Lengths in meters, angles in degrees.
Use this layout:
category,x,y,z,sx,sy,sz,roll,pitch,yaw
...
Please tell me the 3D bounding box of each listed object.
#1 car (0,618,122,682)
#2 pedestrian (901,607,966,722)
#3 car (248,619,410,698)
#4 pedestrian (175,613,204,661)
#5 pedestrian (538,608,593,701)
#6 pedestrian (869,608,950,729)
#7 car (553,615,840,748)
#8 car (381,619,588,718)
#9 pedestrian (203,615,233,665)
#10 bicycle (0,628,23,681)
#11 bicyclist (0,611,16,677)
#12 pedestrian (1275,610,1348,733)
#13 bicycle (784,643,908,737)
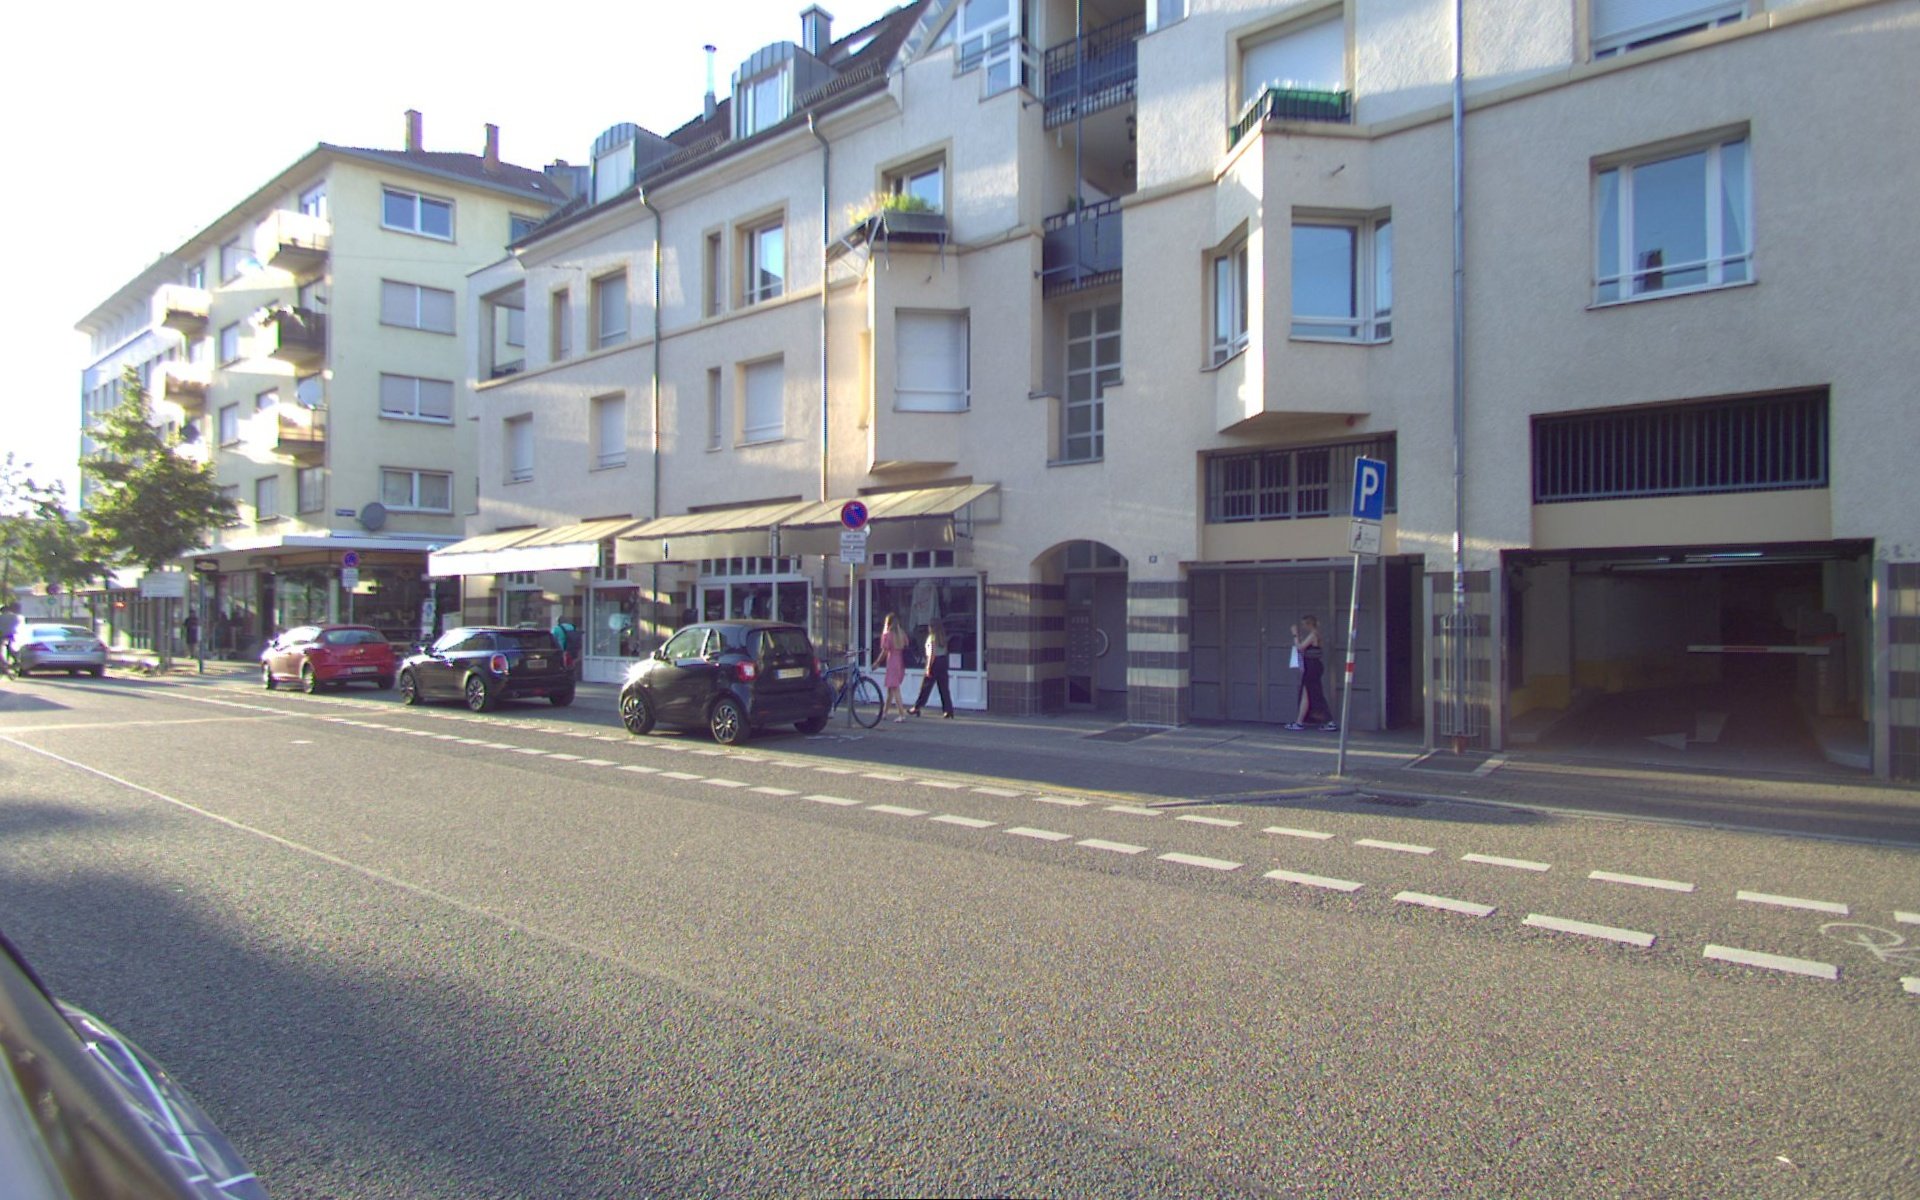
category,x,y,z,sx,sy,sz,roll,pitch,yaw
car,-24.839,1.341,27.698,4.398,1.617,1.975,-1,-3,38
pedestrian,-0.409,0.969,15.586,0.830,1.713,0.554,-1,-2,38
car,-13.995,1.228,22.381,3.780,1.592,1.773,-1,-2,37
pedestrian,-28.900,1.375,37.954,0.666,1.805,0.711,-1,-1,39
pedestrian,-7.602,1.039,19.521,0.737,1.747,0.711,-1,-1,38
pedestrian,-0.743,0.985,14.901,1.039,1.713,0.624,-1,-2,38
car,-3.727,1.018,14.089,3.959,1.592,1.773,-1,-2,36
car,-8.554,1.141,18.126,3.780,1.592,1.773,-1,-2,37
pedestrian,-27.074,1.457,36.925,0.666,1.805,0.711,-1,-1,39
bicycle,-23.640,1.311,24.861,2.129,1.252,0.656,-1,-4,42
bicyclist,-23.539,1.072,24.776,0.802,1.593,0.541,-1,-2,42
pedestrian,4.707,0.939,13.554,0.765,1.584,0.535,1,-2,-26
bicycle,-1.642,1.233,14.334,1.976,1.215,0.552,-1,-2,41
